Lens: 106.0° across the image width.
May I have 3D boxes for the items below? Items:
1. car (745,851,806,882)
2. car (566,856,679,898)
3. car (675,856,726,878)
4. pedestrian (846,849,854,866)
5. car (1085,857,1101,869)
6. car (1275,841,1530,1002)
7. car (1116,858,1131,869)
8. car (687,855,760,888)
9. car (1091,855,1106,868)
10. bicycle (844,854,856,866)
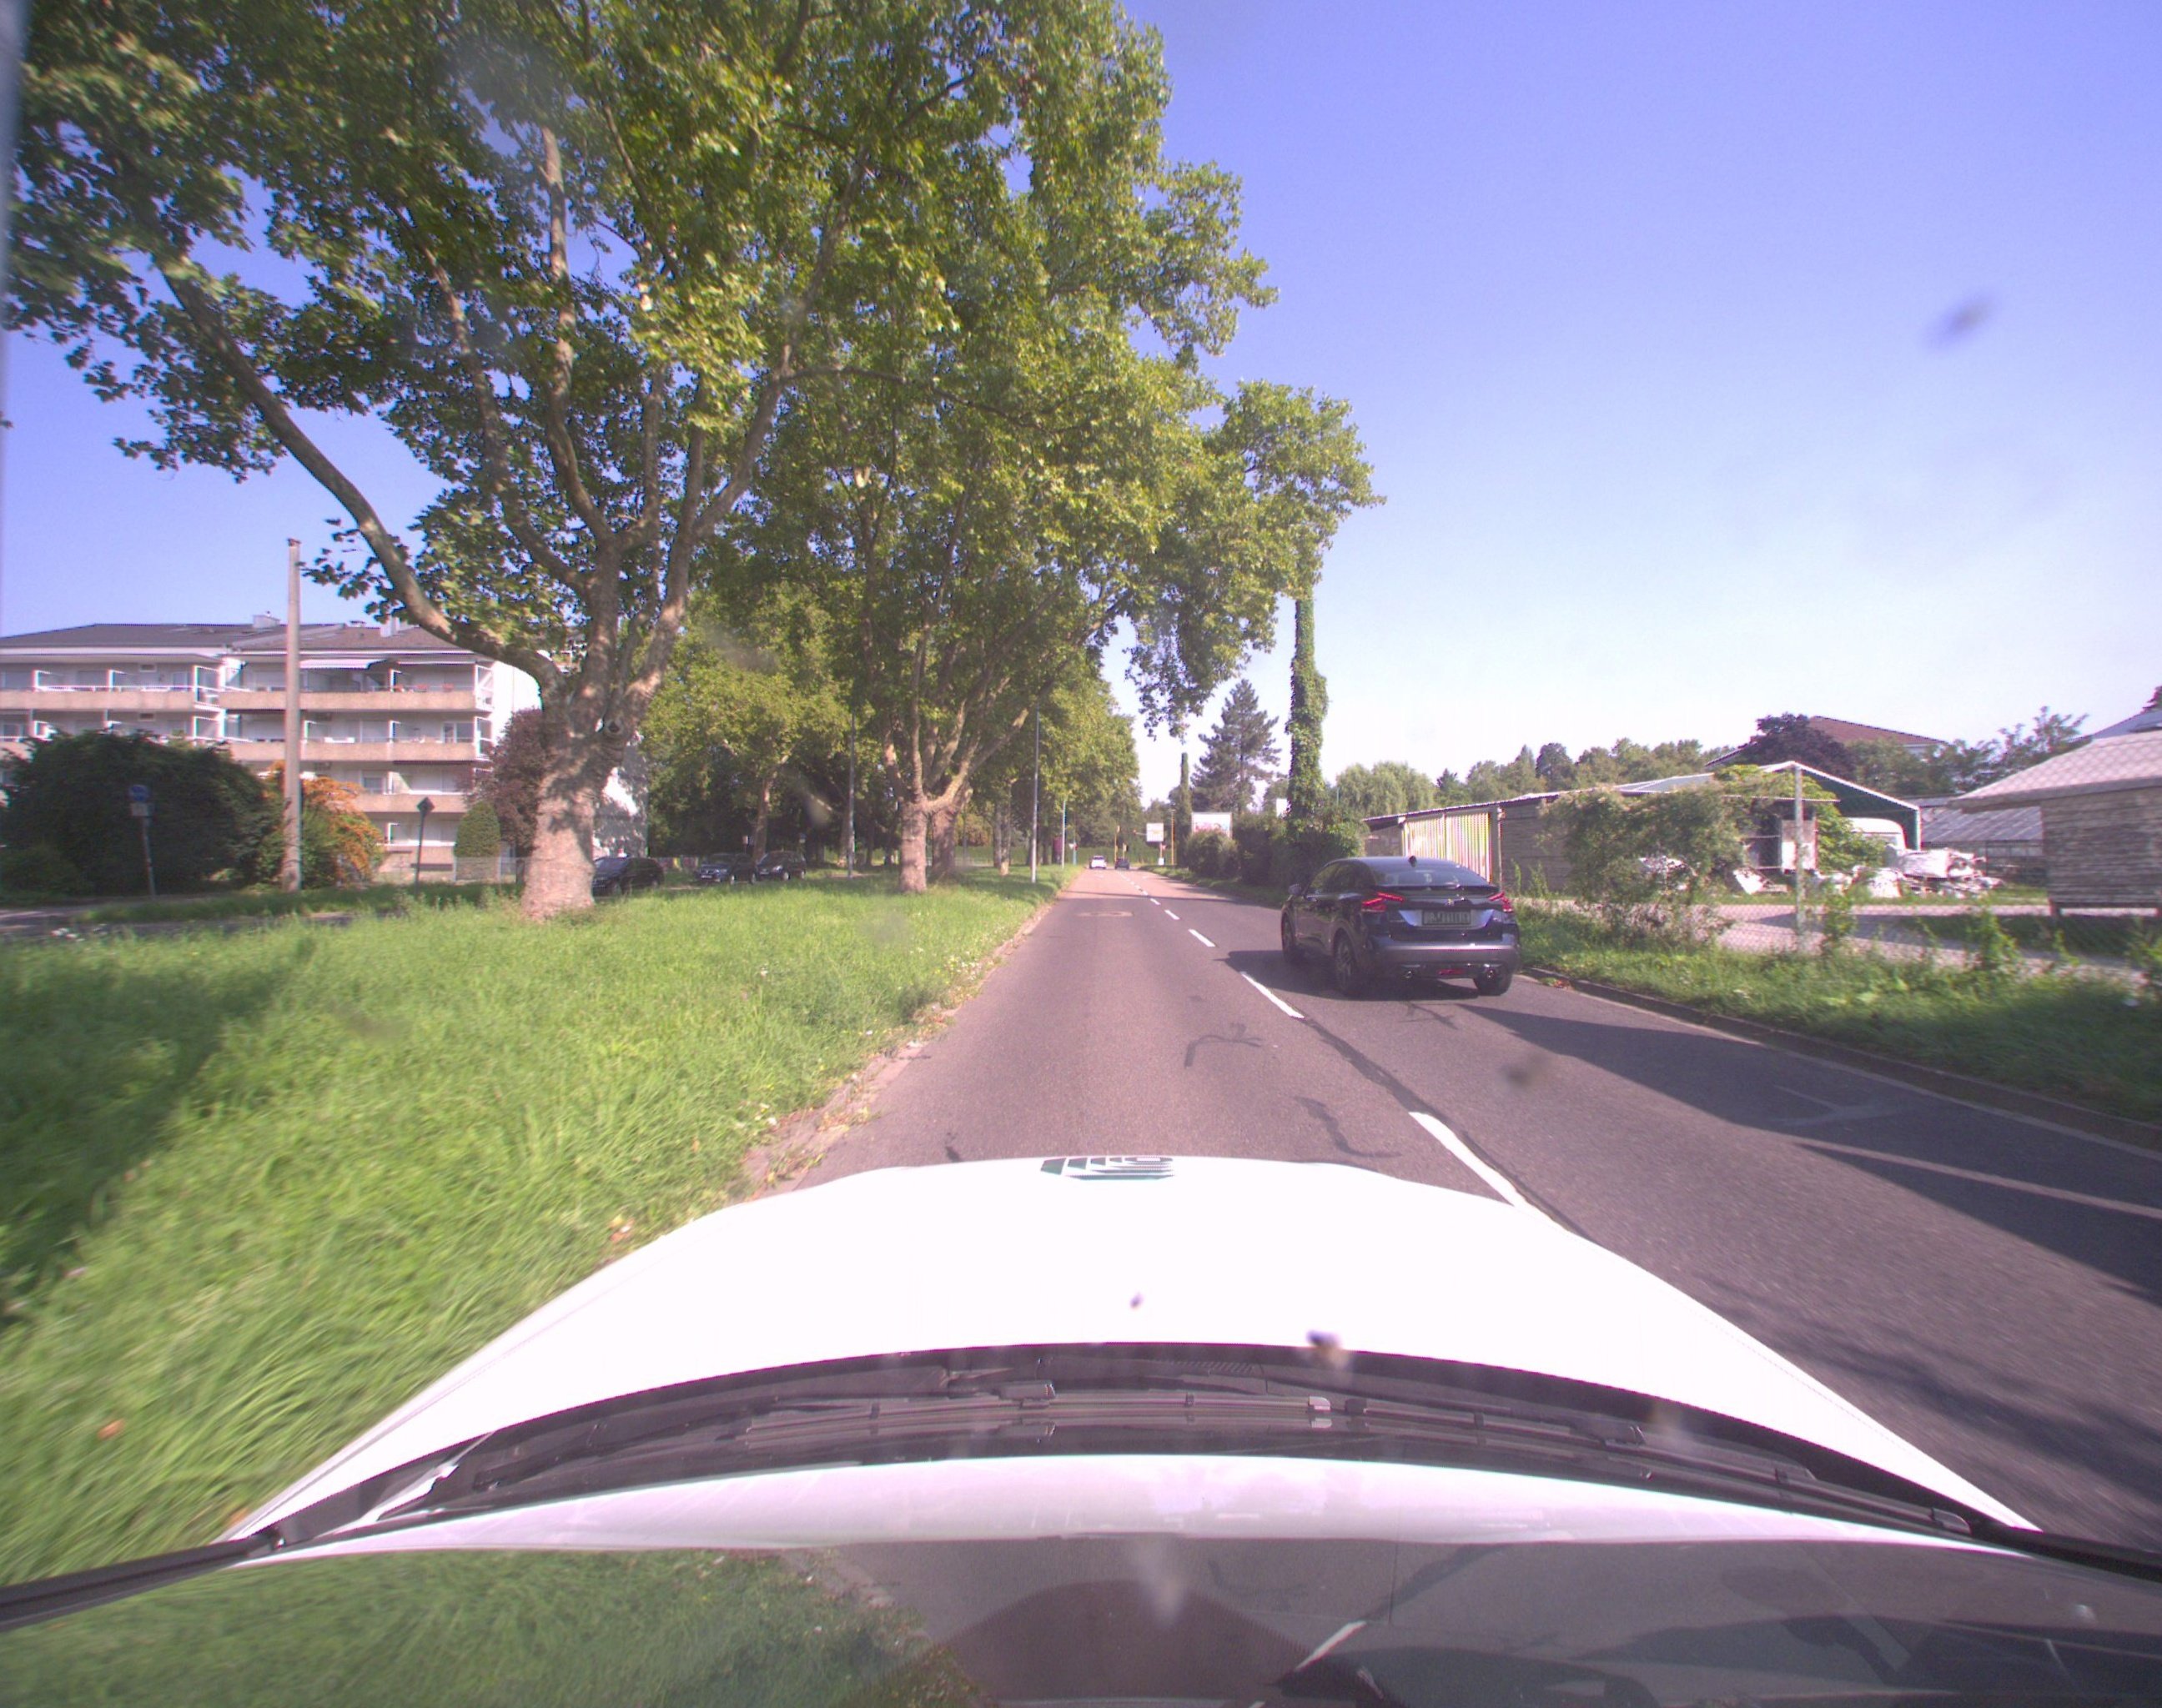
[{"bbox_3d":[-17.921,0.695,48.036,1.693,1.732,4.661,1,0,2],"label":"car"},{"bbox_3d":[-17.724,0.829,31.745,1.693,1.508,4.542,0,0,2],"label":"car"},{"bbox_3d":[-31.363,1.049,67.243,1.688,1.726,4.396,1,0,6],"label":"car"},{"bbox_3d":[-23.112,0.311,81.485,0.541,1.690,0.657,1,-1,-2],"label":"pedestrian"},{"bbox_3d":[1.512,1.122,102.181,1.679,1.462,3.855,1,0,5],"label":"car"},{"bbox_3d":[3.702,0.688,10.226,1.639,1.588,4.256,-1,0,2],"label":"car"},{"bbox_3d":[5.312,1.186,102.468,1.791,1.401,4.000,1,0,1],"label":"car"},{"bbox_3d":[-17.600,0.838,40.280,1.693,1.568,4.002,0,0,2],"label":"car"},{"bbox_3d":[2.064,0.893,93.699,1.681,1.462,4.002,1,0,2],"label":"car"},{"bbox_3d":[-23.094,0.562,81.488,0.543,1.199,2.759,1,0,-2],"label":"bicycle"}]
